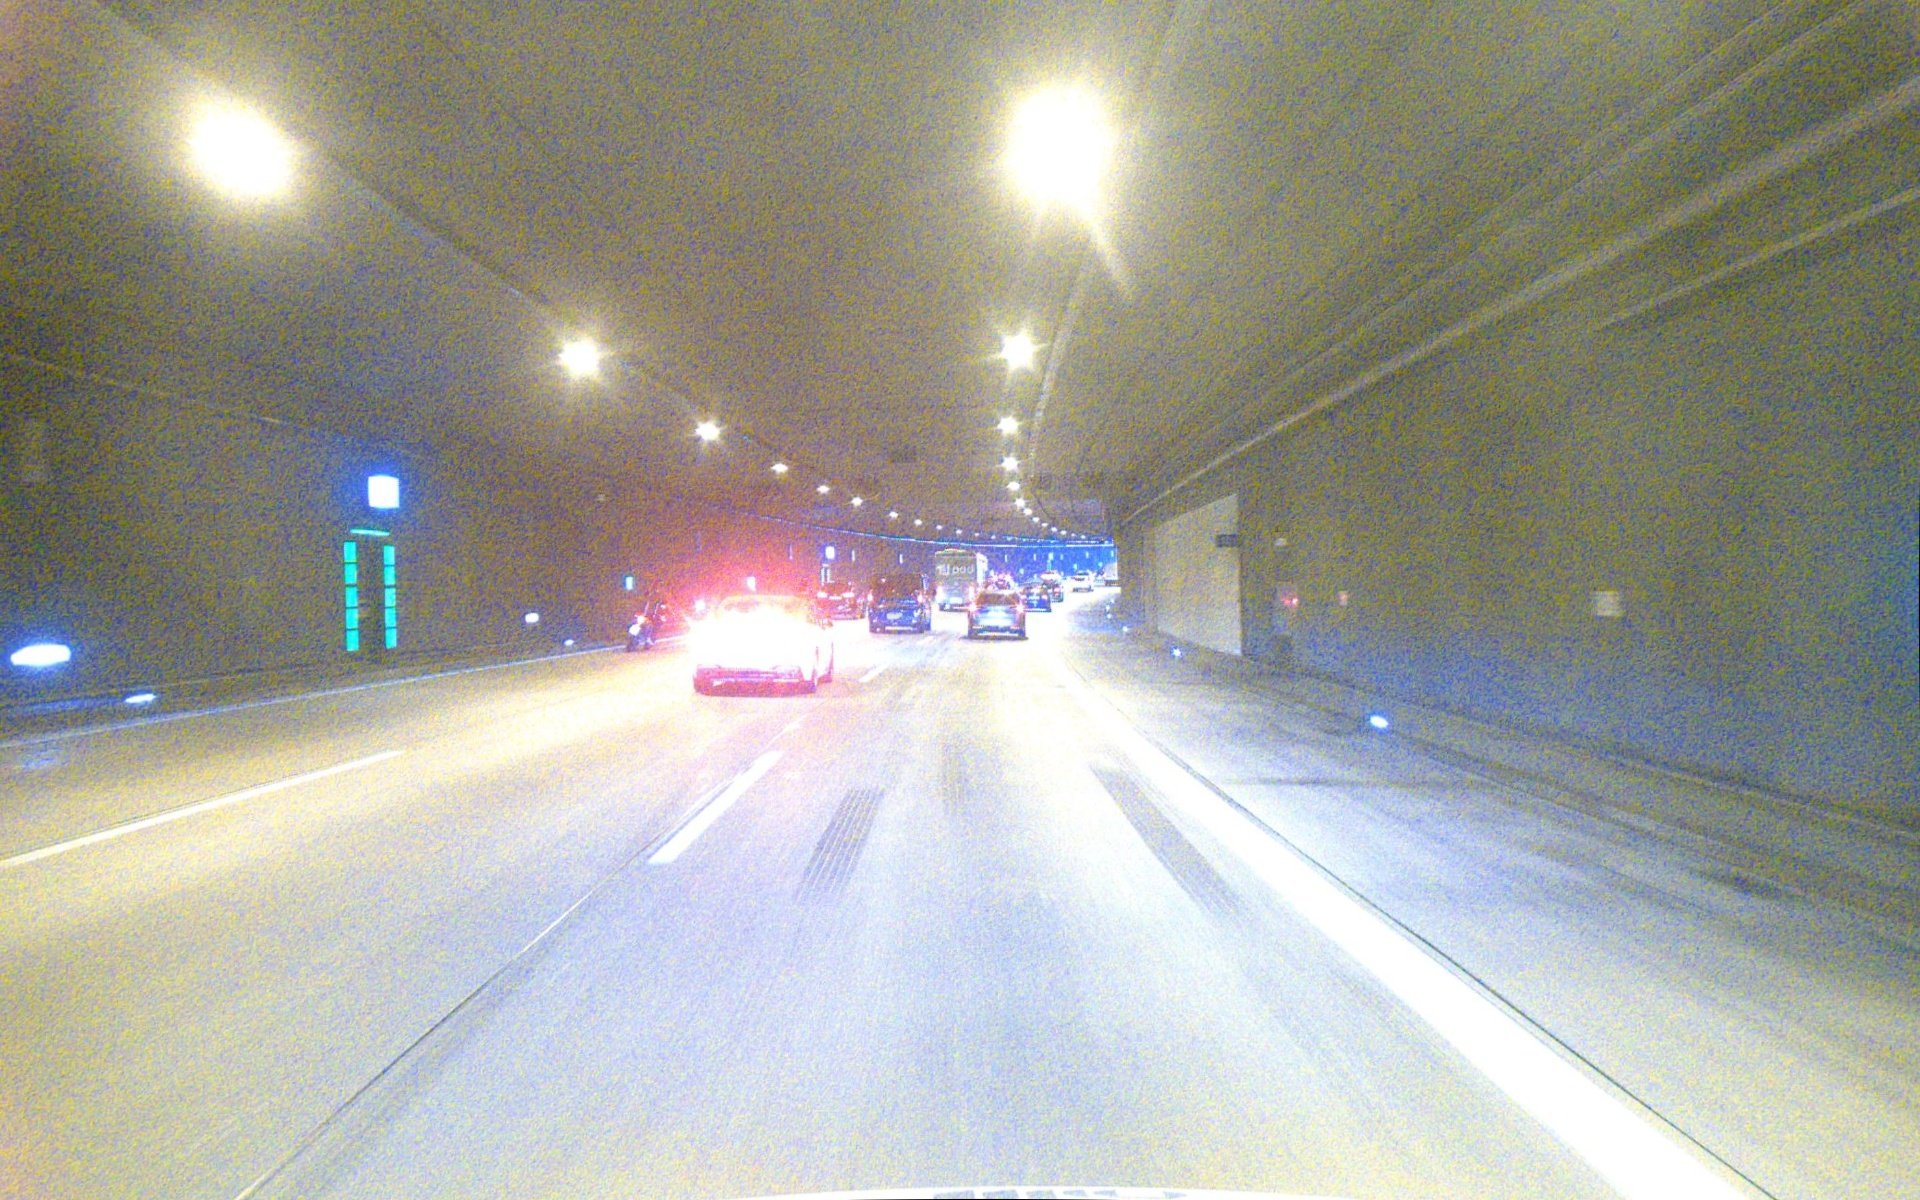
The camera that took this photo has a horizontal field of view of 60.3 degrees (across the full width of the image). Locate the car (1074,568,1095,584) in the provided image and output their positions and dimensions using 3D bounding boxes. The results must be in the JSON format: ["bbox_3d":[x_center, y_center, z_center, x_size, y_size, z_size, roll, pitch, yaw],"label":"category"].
[{"bbox_3d":[14.140,-2.742,187.206,1.951,1.660,4.003,1,-1,11],"label":"car"}]

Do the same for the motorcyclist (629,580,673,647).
[{"bbox_3d":[-7.012,0.309,37.579,0.761,1.478,1.069,1,-1,2],"label":"motorcyclist"}]

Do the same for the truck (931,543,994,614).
[{"bbox_3d":[0.228,-1.157,91.927,2.975,3.737,7.396,0,0,4],"label":"truck"}]

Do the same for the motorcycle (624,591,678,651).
[{"bbox_3d":[-7.003,0.470,37.608,0.668,1.319,2.399,1,0,2],"label":"motorcycle"}]

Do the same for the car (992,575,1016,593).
[{"bbox_3d":[4.076,-1.495,153.509,1.889,1.671,4.003,0,0,7],"label":"car"}]

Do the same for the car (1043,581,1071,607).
[{"bbox_3d":[6.922,-0.440,118.814,1.909,1.803,4.001,1,-1,2],"label":"car"}]

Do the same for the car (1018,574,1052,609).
[{"bbox_3d":[4.130,-0.472,91.533,1.818,1.887,4.001,0,0,2],"label":"car"}]

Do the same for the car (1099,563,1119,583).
[{"bbox_3d":[16.845,-3.040,187.020,1.951,2.049,4.003,1,-1,9],"label":"car"}]

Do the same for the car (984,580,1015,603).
[{"bbox_3d":[2.929,-0.644,122.263,1.951,1.660,4.003,1,0,5],"label":"car"}]

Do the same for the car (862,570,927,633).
[{"bbox_3d":[-2.147,0.016,55.191,1.870,1.978,3.873,0,2,2],"label":"car"}]

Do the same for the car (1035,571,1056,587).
[{"bbox_3d":[9.652,-2.331,186.202,1.889,1.671,4.003,1,-1,9],"label":"car"}]

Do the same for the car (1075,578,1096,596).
[{"bbox_3d":[11.911,-1.217,157.147,1.890,1.671,4.001,1,-1,2],"label":"car"}]

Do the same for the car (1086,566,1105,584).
[{"bbox_3d":[16.557,-3.028,202.051,1.951,2.049,4.003,1,-1,9],"label":"car"}]

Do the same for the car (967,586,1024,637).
[{"bbox_3d":[1.105,0.311,50.970,1.706,1.489,3.872,0,1,1],"label":"car"}]

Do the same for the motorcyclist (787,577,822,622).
[{"bbox_3d":[-5.151,-0.008,54.838,0.789,1.474,1.866,0,-1,6],"label":"motorcyclist"}]

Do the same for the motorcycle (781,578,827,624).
[{"bbox_3d":[-5.142,0.057,54.825,0.906,1.459,2.965,1,-1,6],"label":"motorcycle"}]

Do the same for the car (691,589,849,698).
[{"bbox_3d":[-2.818,0.592,25.550,1.667,1.443,5.062,0,1,2],"label":"car"}]

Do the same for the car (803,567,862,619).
[{"bbox_3d":[-5.234,-0.283,68.455,1.952,2.049,4.002,0,0,3],"label":"car"}]
